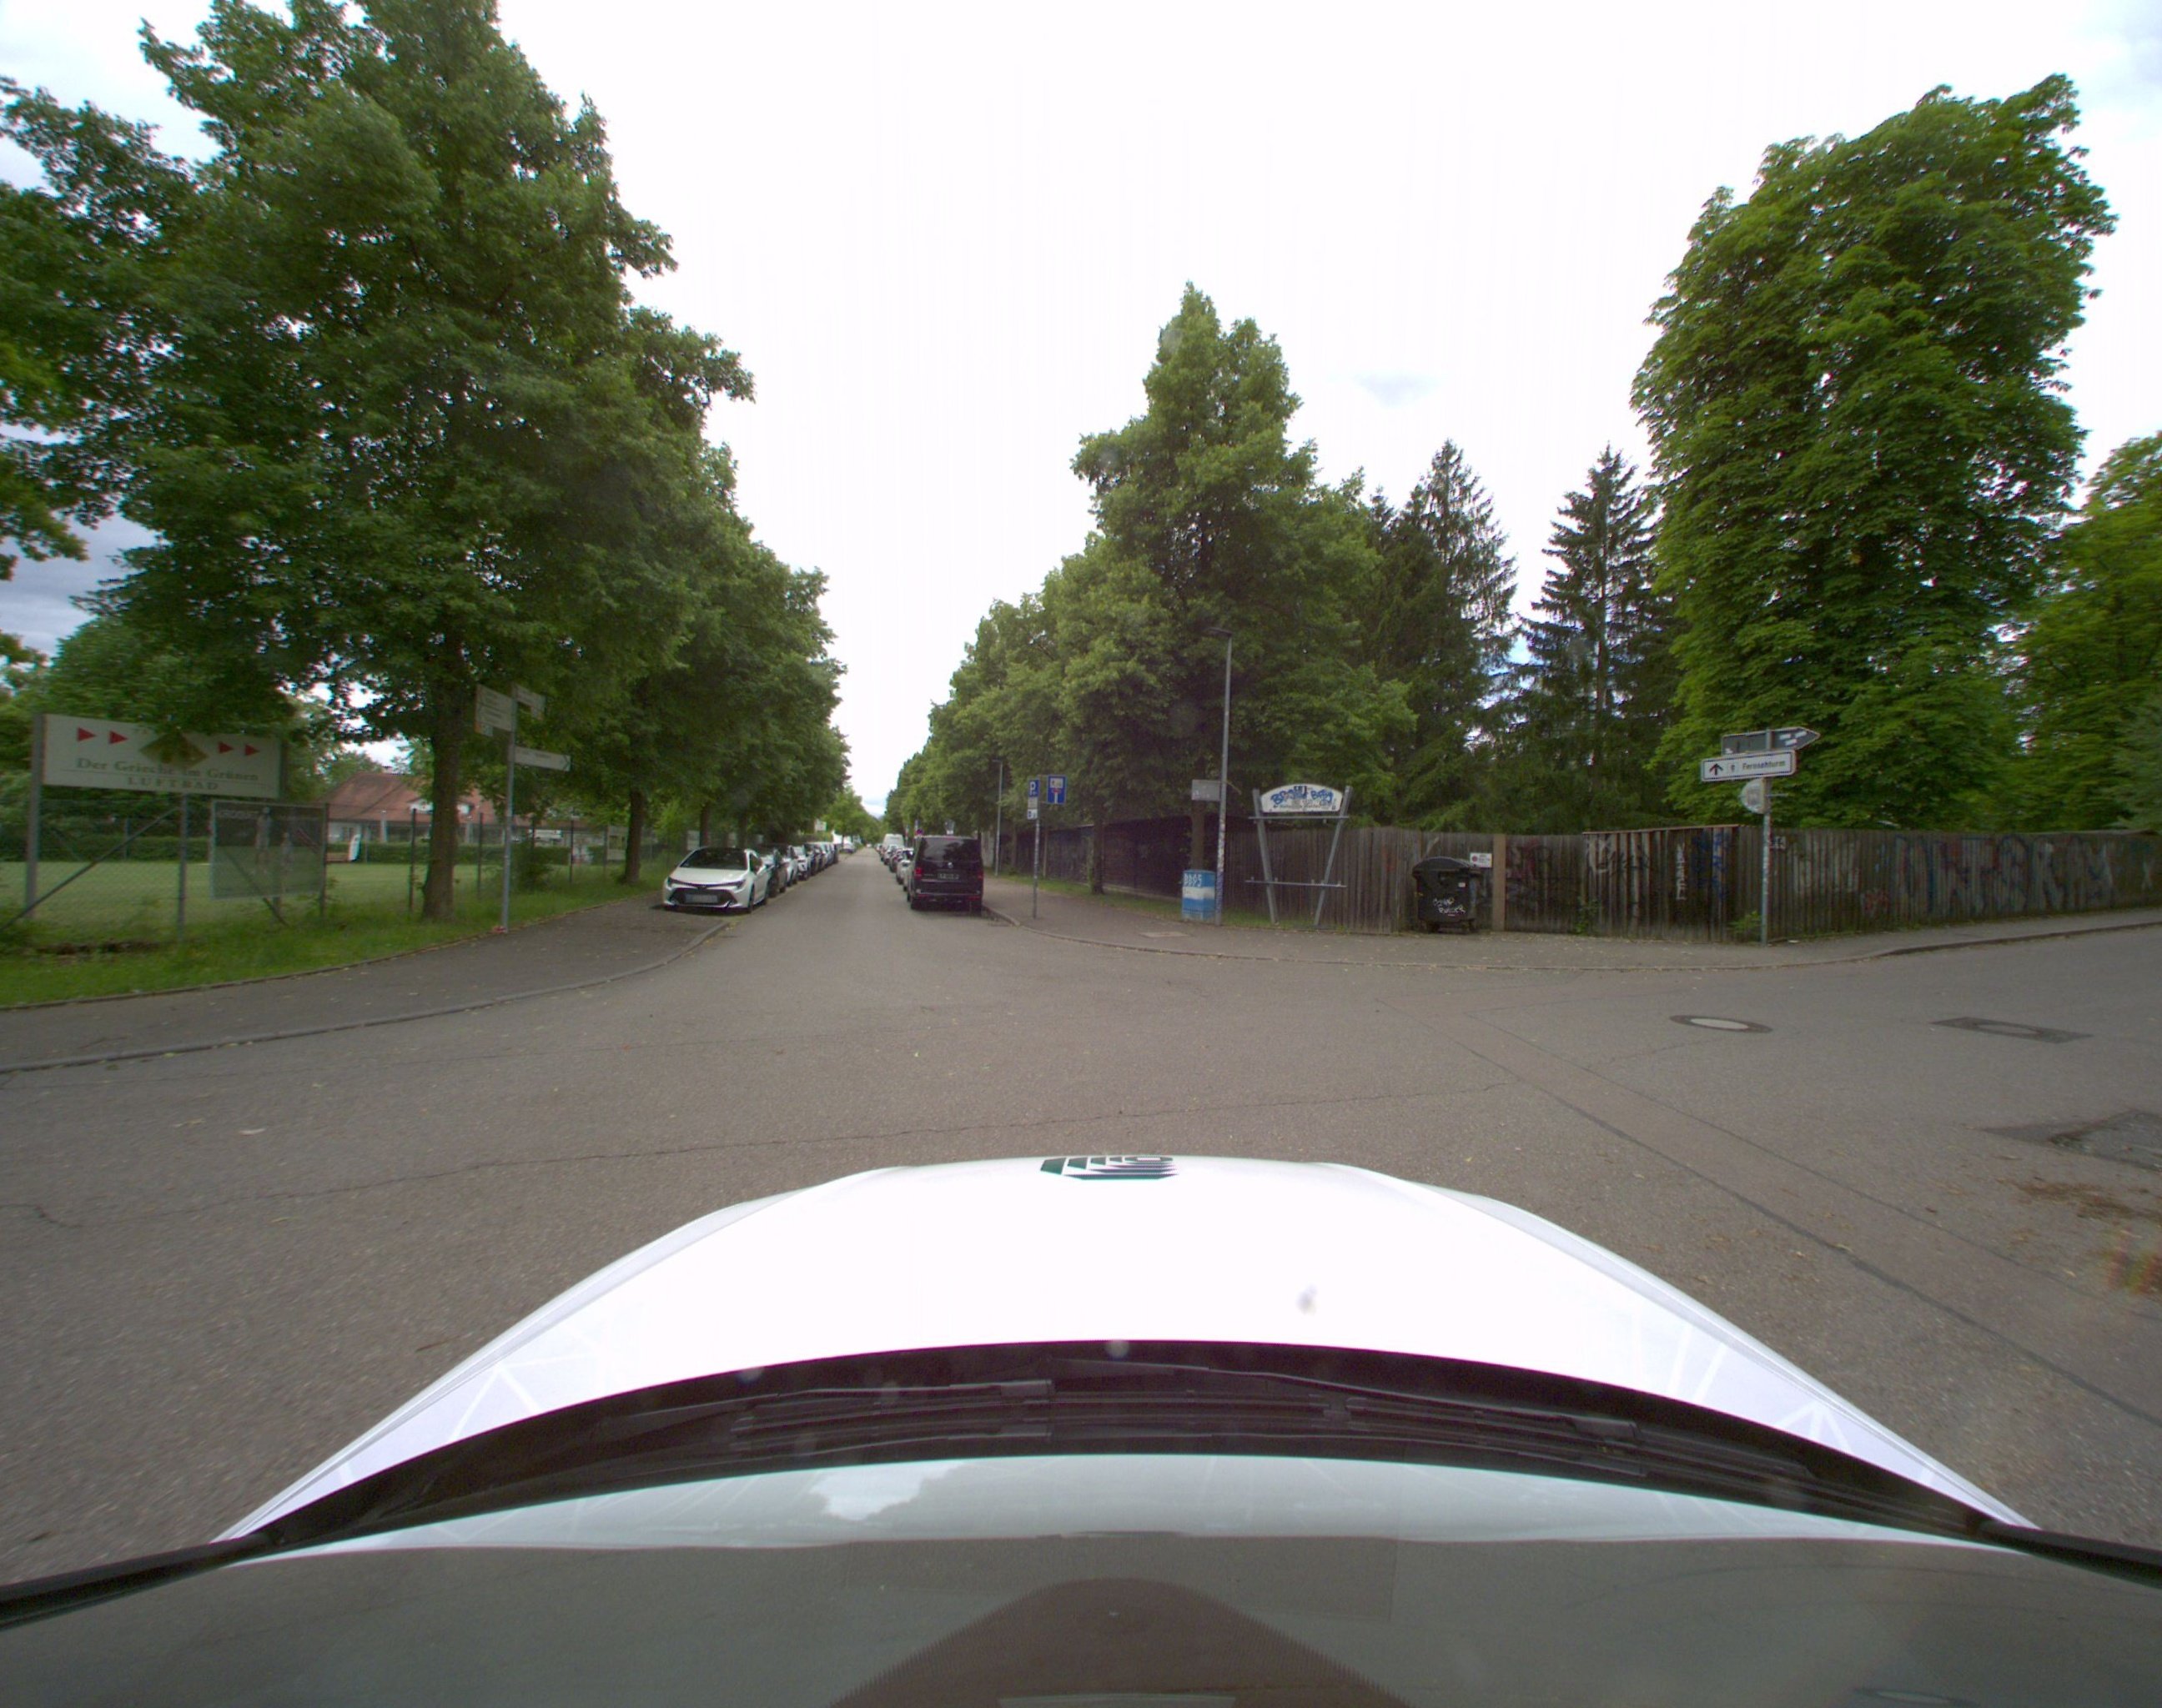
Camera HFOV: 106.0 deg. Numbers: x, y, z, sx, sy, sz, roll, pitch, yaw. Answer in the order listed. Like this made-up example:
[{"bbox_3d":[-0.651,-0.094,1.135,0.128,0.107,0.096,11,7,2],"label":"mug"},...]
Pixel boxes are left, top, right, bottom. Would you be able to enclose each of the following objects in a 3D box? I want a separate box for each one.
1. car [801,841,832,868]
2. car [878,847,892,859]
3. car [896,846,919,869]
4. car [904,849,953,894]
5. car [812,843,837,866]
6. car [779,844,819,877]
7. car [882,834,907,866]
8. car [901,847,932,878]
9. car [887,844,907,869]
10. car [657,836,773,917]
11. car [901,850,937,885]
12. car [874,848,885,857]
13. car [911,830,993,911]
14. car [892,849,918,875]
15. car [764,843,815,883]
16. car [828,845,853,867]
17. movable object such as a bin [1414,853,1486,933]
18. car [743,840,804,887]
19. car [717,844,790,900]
[{"bbox_3d":[-16.477,0.034,50.807,1.596,1.559,3.177,3,-1,-16],"label":"car"},{"bbox_3d":[-32.598,-0.127,135.638,1.994,2.014,3.986,1,-1,-10],"label":"car"},{"bbox_3d":[-11.792,0.238,55.315,1.470,1.531,3.175,1,0,-12],"label":"car"},{"bbox_3d":[-5.427,0.583,28.802,1.598,1.481,3.506,1,0,-12],"label":"car"},{"bbox_3d":[-18.398,0.036,58.452,1.597,1.559,3.176,0,0,-16],"label":"car"},{"bbox_3d":[-13.810,0.310,40.024,1.596,1.457,3.177,3,-1,-16],"label":"car"},{"bbox_3d":[-17.913,-0.383,78.463,2.186,3.015,4.876,1,0,-12],"label":"car"},{"bbox_3d":[-8.370,0.412,41.271,1.470,1.531,3.175,1,0,-12],"label":"car"},{"bbox_3d":[-14.764,0.214,65.430,1.470,1.967,3.175,1,0,-12],"label":"car"},{"bbox_3d":[-8.293,0.470,18.826,1.768,1.596,4.193,3,-1,-16],"label":"car"},{"bbox_3d":[-7.202,0.558,36.014,1.470,1.481,3.175,1,0,-12],"label":"car"},{"bbox_3d":[-41.590,-0.269,168.202,1.898,1.706,4.049,1,-1,-10],"label":"car"},{"bbox_3d":[-3.670,0.418,22.609,1.990,2.013,4.091,1,0,-12],"label":"car"},{"bbox_3d":[-10.762,0.472,49.866,1.470,1.531,3.175,1,0,-12],"label":"car"},{"bbox_3d":[-12.705,0.379,35.657,1.694,1.596,3.978,3,-1,-15],"label":"car"},{"bbox_3d":[-16.533,0.127,56.164,1.471,1.481,3.174,1,0,-13],"label":"car"},{"bbox_3d":[7.070,0.718,15.574,1.065,1.442,1.294,0,-1,33],"label":"movable object such as a bin"},{"bbox_3d":[-11.594,0.327,30.918,1.694,1.596,3.978,3,-1,-15],"label":"car"},{"bbox_3d":[-9.626,0.488,24.139,1.548,1.455,3.645,4,-1,-16],"label":"car"}]
